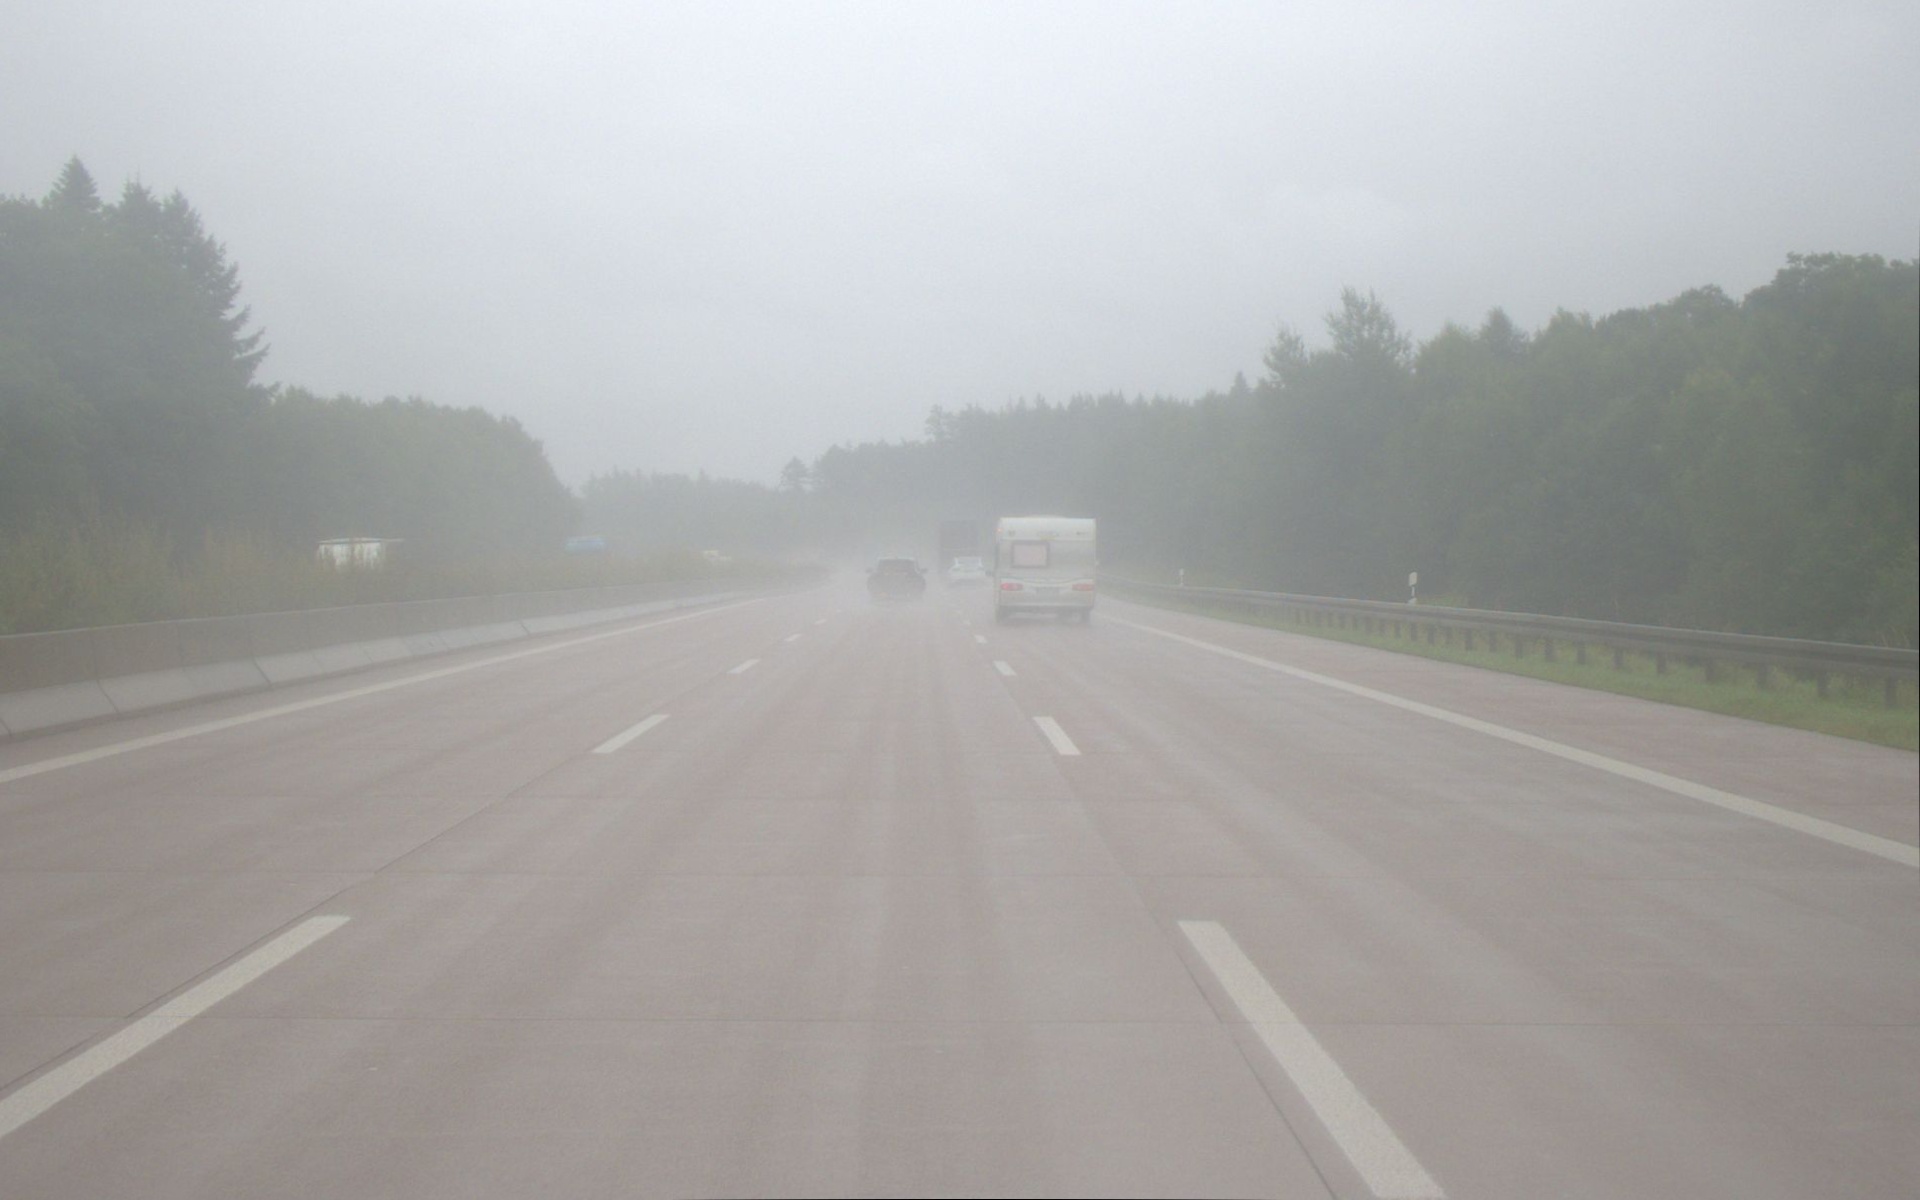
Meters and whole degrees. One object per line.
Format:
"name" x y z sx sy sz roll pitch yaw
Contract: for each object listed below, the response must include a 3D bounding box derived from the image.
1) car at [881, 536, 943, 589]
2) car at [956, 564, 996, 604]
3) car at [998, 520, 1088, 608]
"car" -1.559 -1.255 113.966 1.937 1.723 4.130 0 1 1
"car" 0.820 -0.816 171.712 1.937 1.974 4.130 1 1 1
"car" 1.924 -0.864 81.271 2.058 1.993 4.098 0 1 1
